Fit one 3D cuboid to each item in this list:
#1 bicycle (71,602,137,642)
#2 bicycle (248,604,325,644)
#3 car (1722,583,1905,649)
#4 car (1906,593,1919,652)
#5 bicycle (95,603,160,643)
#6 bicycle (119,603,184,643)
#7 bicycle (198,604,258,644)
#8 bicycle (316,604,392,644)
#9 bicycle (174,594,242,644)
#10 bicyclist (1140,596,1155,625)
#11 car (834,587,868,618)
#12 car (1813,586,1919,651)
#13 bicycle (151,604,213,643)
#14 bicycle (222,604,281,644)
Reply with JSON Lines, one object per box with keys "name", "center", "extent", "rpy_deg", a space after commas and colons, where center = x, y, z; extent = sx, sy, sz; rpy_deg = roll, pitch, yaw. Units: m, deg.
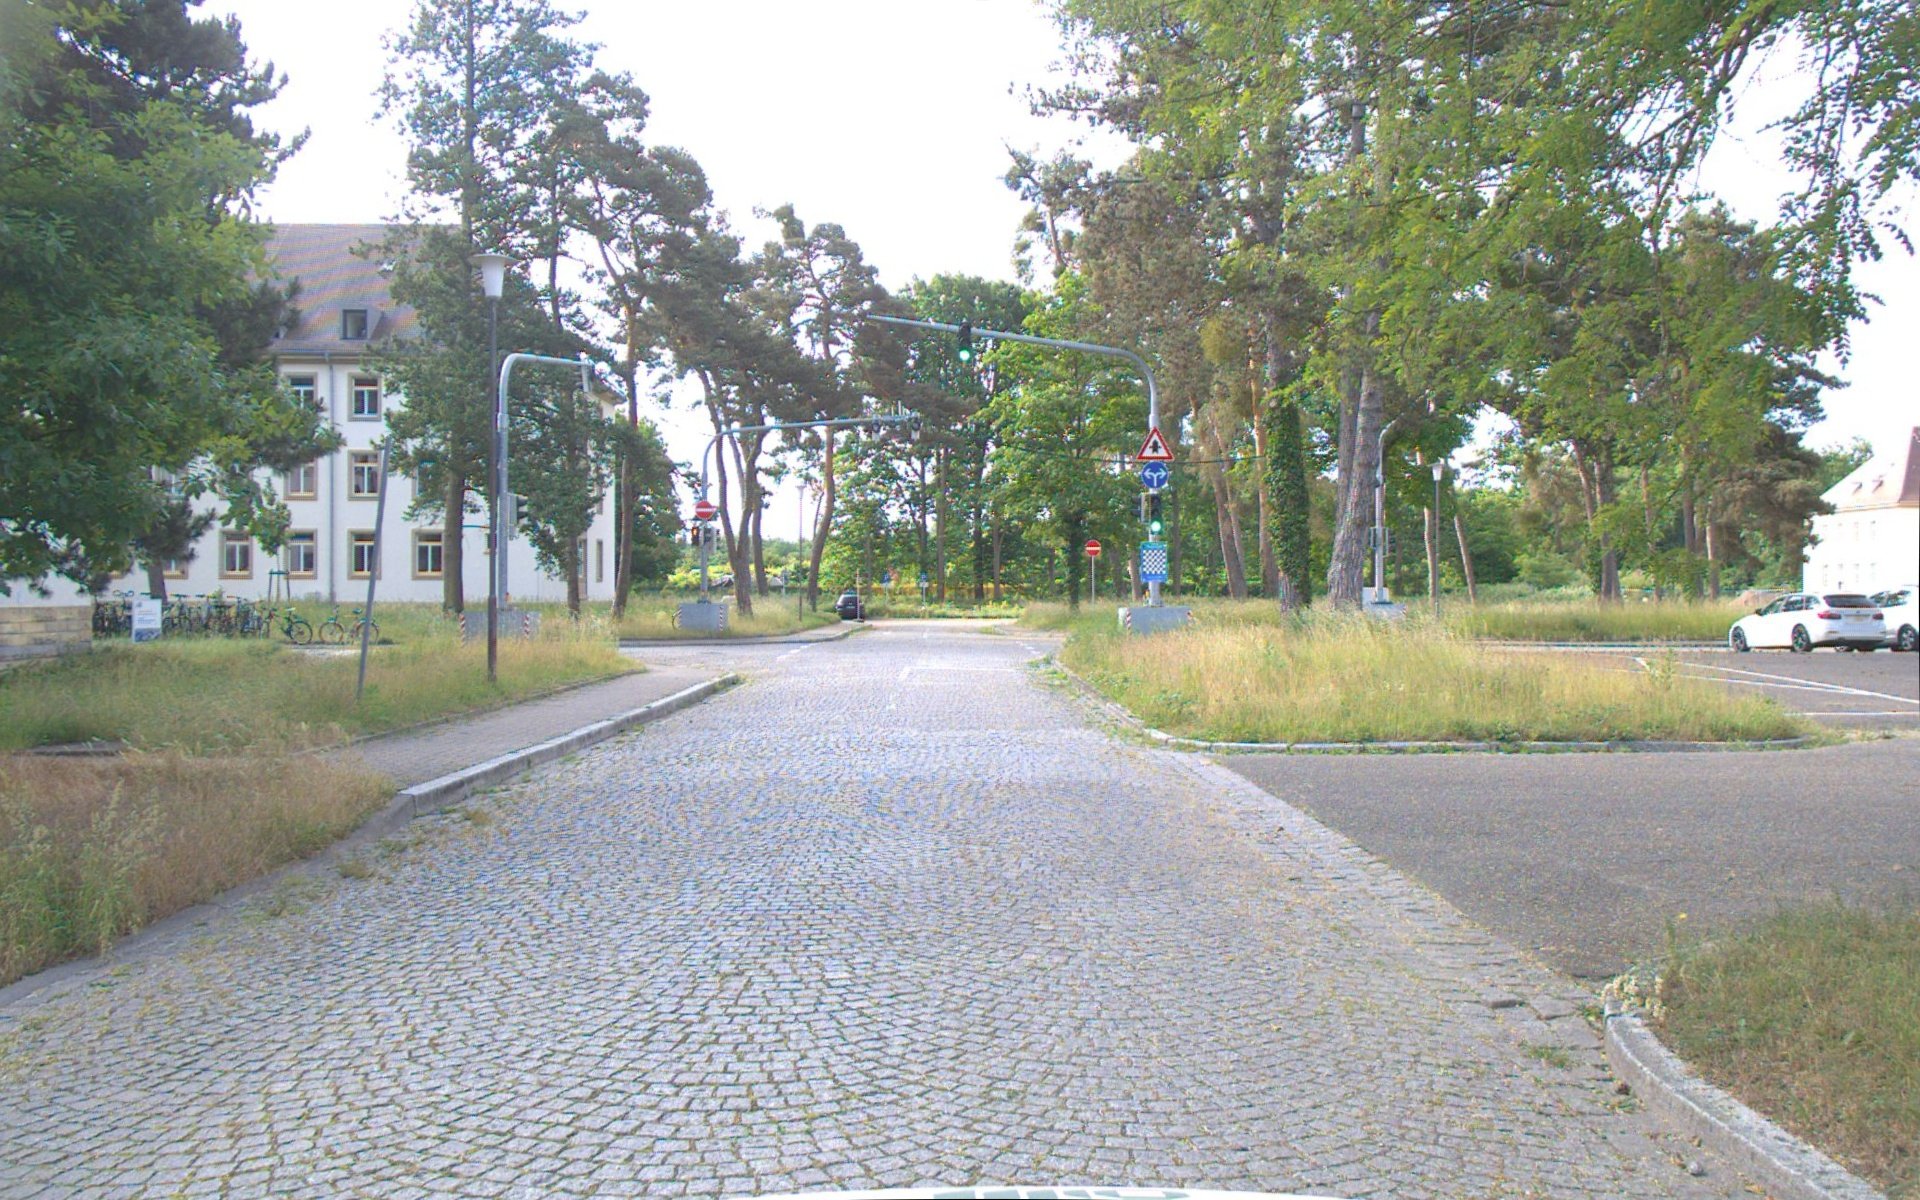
{"name": "bicycle", "center": [-24.358, 0.623, 47.100], "extent": [0.721, 1.095, 2.273], "rpy_deg": [0, 0, 0]}
{"name": "bicycle", "center": [-18.686, 0.664, 45.907], "extent": [1.818, 1.095, 0.738], "rpy_deg": [0, 0, 1]}
{"name": "car", "center": [20.737, 0.410, 40.431], "extent": [1.954, 1.507, 4.421], "rpy_deg": [0, -1, -4]}
{"name": "car", "center": [25.812, 0.535, 40.992], "extent": [1.954, 1.507, 4.421], "rpy_deg": [0, -1, -4]}
{"name": "bicycle", "center": [-23.661, 0.632, 47.035], "extent": [0.721, 1.095, 2.273], "rpy_deg": [0, 0, 0]}
{"name": "bicycle", "center": [-22.941, 0.636, 46.976], "extent": [0.721, 1.095, 2.273], "rpy_deg": [0, 0, 0]}
{"name": "bicycle", "center": [-20.792, 0.678, 47.042], "extent": [0.721, 1.095, 2.273], "rpy_deg": [0, 0, 0]}
{"name": "bicycle", "center": [-16.836, 0.660, 45.978], "extent": [1.818, 1.095, 0.831], "rpy_deg": [0, 0, 1]}
{"name": "bicycle", "center": [-21.527, 0.527, 47.384], "extent": [0.721, 1.410, 2.711], "rpy_deg": [0, 0, 0]}
{"name": "bicyclist", "center": [11.461, 0.639, 101.064], "extent": [0.737, 1.700, 0.523], "rpy_deg": [1, -1, -18]}
{"name": "car", "center": [-6.798, 0.164, 103.485], "extent": [2.014, 1.878, 3.999], "rpy_deg": [0, 0, -2]}
{"name": "car", "center": [23.201, 0.470, 40.653], "extent": [1.954, 1.507, 4.421], "rpy_deg": [0, -1, -4]}
{"name": "bicycle", "center": [-22.314, 0.660, 47.480], "extent": [0.721, 1.095, 2.273], "rpy_deg": [0, 0, 0]}
{"name": "bicycle", "center": [-20.163, 0.671, 47.133], "extent": [0.721, 1.095, 2.273], "rpy_deg": [0, 0, 0]}
